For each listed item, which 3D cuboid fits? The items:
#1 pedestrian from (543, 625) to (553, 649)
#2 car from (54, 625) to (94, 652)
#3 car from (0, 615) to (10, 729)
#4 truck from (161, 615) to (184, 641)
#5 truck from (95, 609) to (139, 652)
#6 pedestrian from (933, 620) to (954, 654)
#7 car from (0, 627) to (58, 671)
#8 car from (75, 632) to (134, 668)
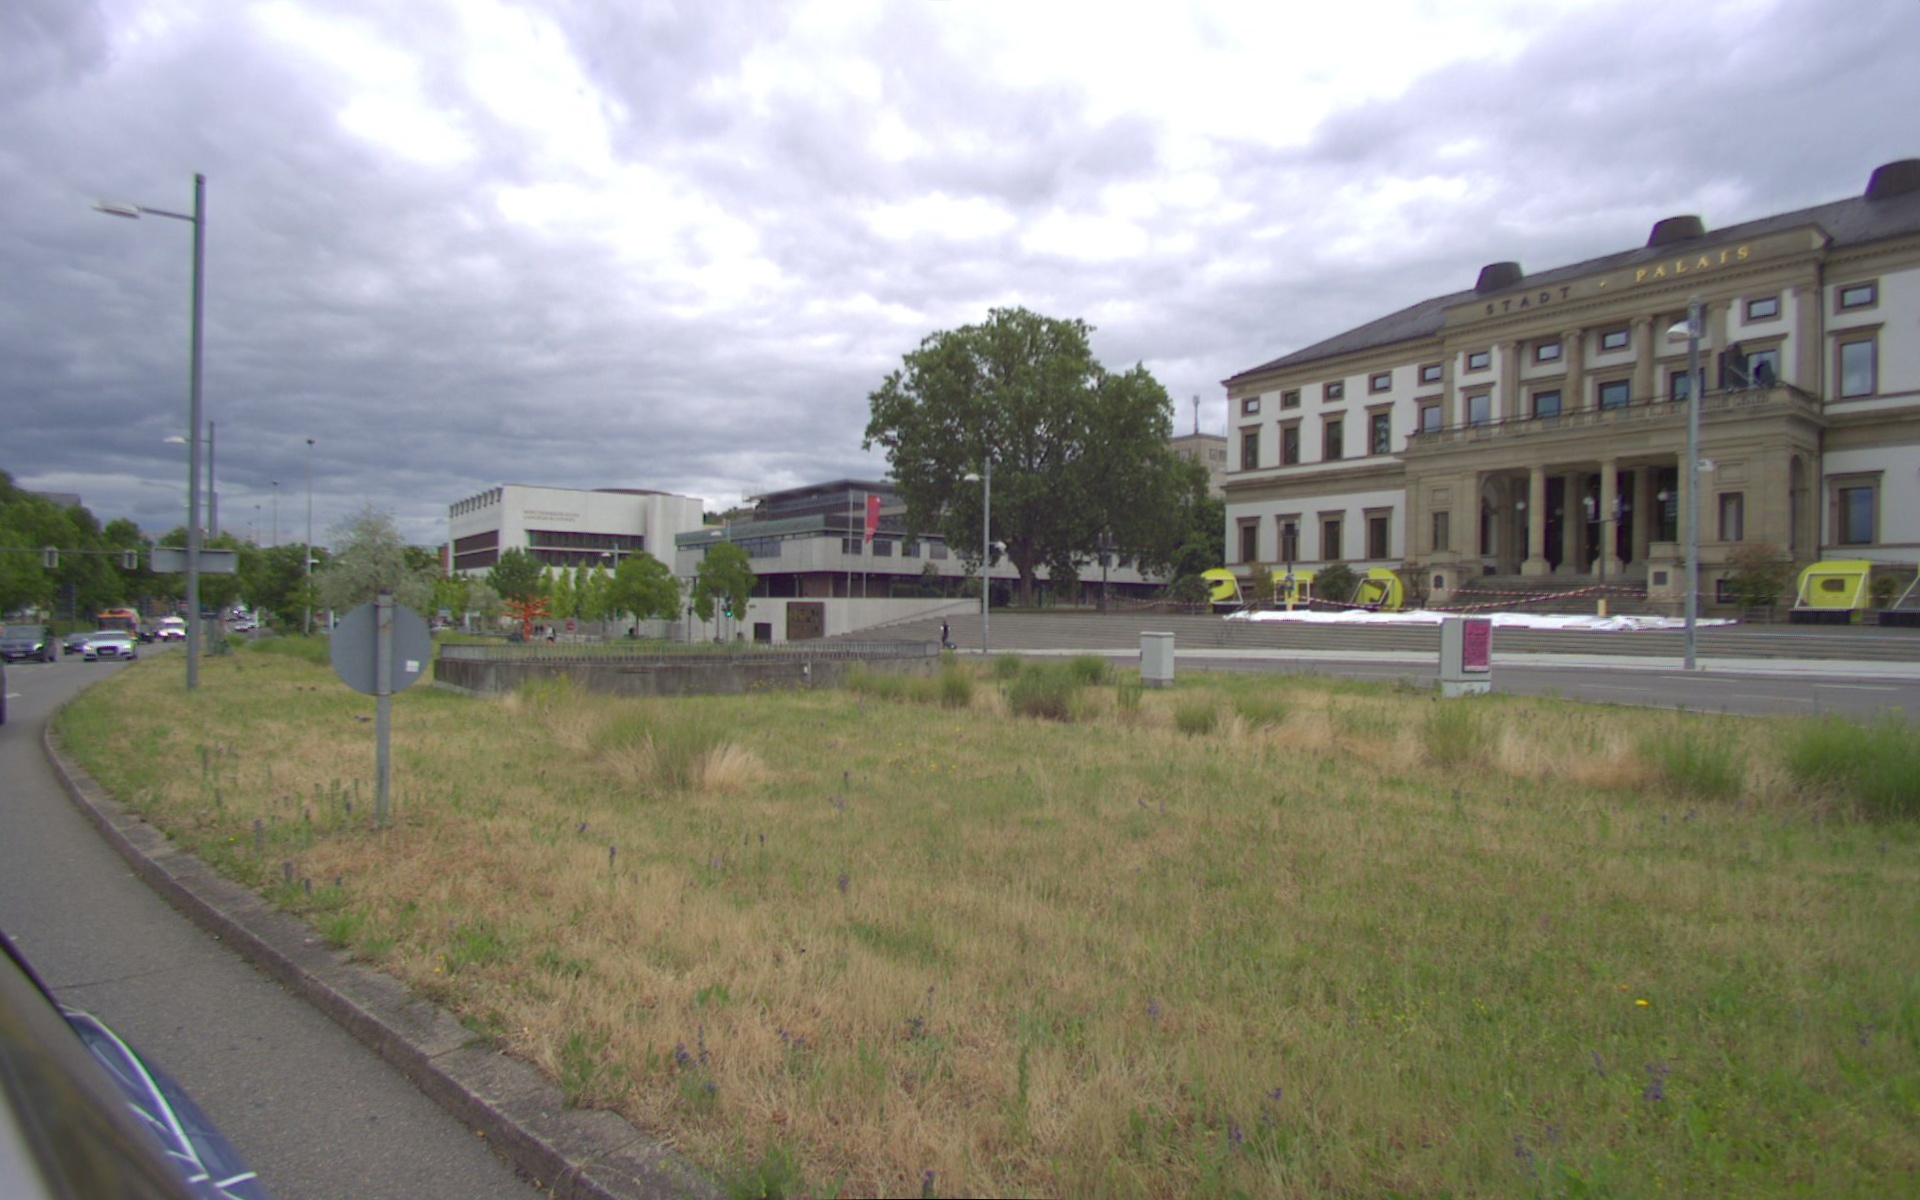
[{"bbox_3d":[-28.592,2.552,70.227,0.468,1.647,0.442,-1,-1,24],"label":"pedestrian"},{"bbox_3d":[-60.039,2.567,68.616,1.831,1.752,3.747,0,-1,-39],"label":"car"},{"bbox_3d":[-14.918,1.050,14.320,1.975,1.651,5.027,0,-1,-41],"label":"car"},{"bbox_3d":[-87.563,3.058,112.571,1.925,2.805,5.802,0,-1,-37],"label":"truck"},{"bbox_3d":[-75.013,2.675,90.168,2.684,3.643,9.197,0,-1,-38],"label":"truck"},{"bbox_3d":[-0.861,1.968,53.909,0.673,1.761,0.892,0,-1,-42],"label":"pedestrian"},{"bbox_3d":[-45.287,2.347,49.165,1.830,2.003,4.651,1,-2,-38],"label":"car"},{"bbox_3d":[-41.510,2.396,49.191,2.063,1.621,4.420,1,-2,-39],"label":"car"}]
